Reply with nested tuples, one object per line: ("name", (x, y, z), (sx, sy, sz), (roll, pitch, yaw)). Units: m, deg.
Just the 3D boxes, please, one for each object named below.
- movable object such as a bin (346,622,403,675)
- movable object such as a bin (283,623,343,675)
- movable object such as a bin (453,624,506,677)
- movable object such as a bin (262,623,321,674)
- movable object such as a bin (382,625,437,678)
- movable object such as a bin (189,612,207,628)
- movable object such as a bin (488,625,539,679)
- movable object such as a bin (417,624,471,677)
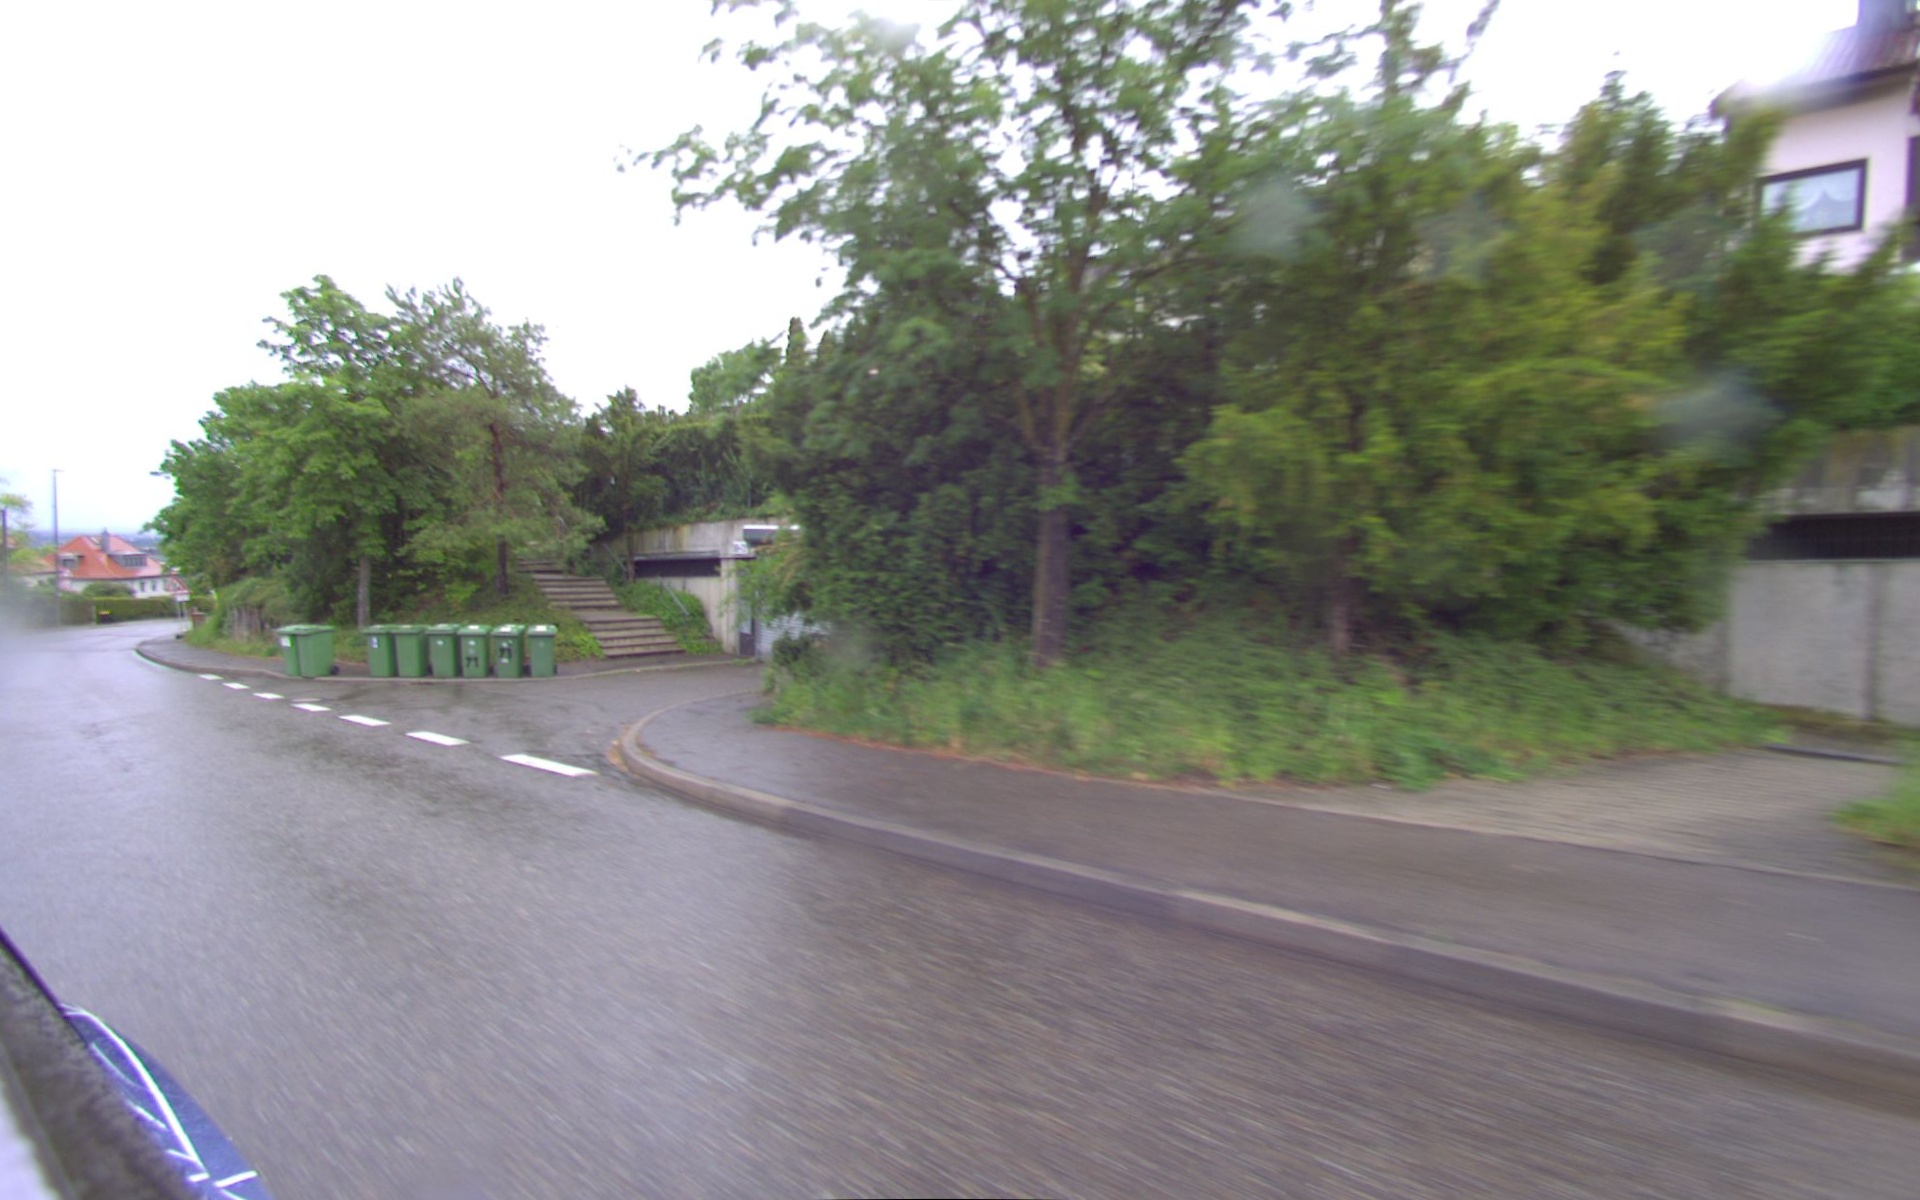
("movable object such as a bin", (-12.293, 1.014, 21.265), (0.709, 1.035, 0.780), (-1, 2, -1))
("movable object such as a bin", (-13.715, 1.025, 21.454), (0.714, 1.035, 0.775), (-1, 2, 22))
("movable object such as a bin", (-10.093, 1.060, 21.283), (0.709, 1.035, 0.780), (-1, 2, -1))
("movable object such as a bin", (-14.378, 1.027, 21.779), (0.714, 1.035, 0.775), (-1, 2, 22))
("movable object such as a bin", (-11.555, 1.072, 21.276), (0.709, 1.035, 0.780), (-1, 2, -1))
("movable object such as a bin", (-49.602, 1.285, 65.860), (0.867, 1.038, 0.805), (0, -1, -34))
("movable object such as a bin", (-9.370, 1.086, 21.279), (0.709, 1.035, 0.780), (-1, 2, -1))
("movable object such as a bin", (-10.831, 1.048, 21.279), (0.709, 1.035, 0.780), (-1, 2, -1))
